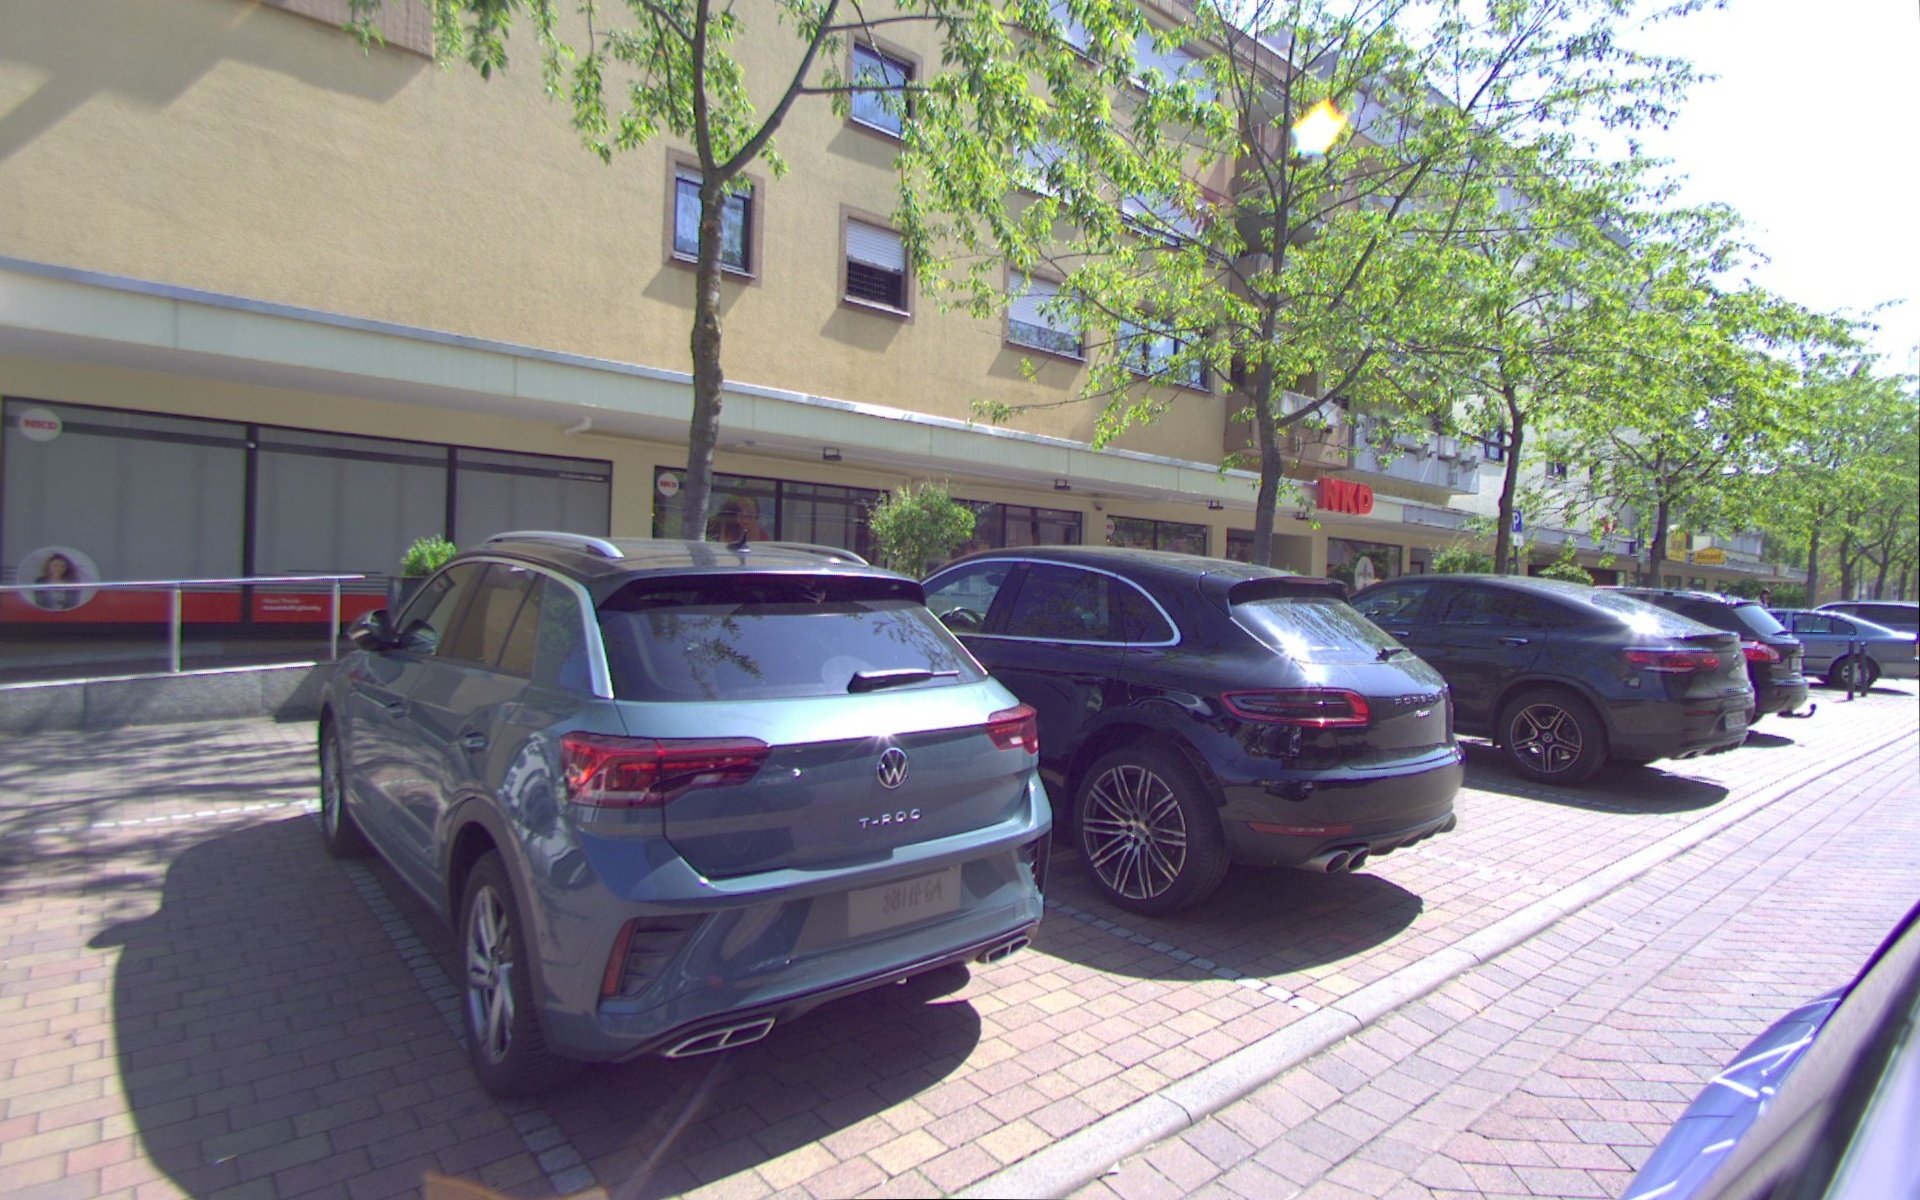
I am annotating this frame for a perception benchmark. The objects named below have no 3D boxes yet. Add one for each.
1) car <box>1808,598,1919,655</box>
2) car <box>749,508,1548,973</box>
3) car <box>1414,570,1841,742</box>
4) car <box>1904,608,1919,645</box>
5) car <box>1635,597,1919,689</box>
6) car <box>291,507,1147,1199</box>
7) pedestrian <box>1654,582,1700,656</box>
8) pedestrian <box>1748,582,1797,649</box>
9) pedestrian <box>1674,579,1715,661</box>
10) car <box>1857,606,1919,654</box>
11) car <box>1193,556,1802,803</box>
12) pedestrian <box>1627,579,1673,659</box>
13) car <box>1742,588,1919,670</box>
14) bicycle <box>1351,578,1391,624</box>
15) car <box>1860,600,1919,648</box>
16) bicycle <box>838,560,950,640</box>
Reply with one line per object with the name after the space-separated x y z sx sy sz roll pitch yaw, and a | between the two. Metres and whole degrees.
29.046 0.837 30.867 1.774 1.562 4.586 1 2 -39 | car
0.735 0.425 5.959 1.966 1.701 4.286 1 2 -42 | car
8.012 0.533 12.483 1.651 1.631 4.038 1 3 -39 | car
38.628 1.114 38.780 1.434 1.407 3.401 1 2 -39 | car
15.907 0.766 19.765 4.350 1.481 1.871 2 1 30 | car
-1.388 0.470 4.183 1.792 1.552 3.953 1 3 -41 | car
17.141 0.450 24.194 0.635 1.752 0.617 0 0 -6 | pedestrian
22.348 0.414 27.832 0.853 1.803 0.760 1 1 -33 | pedestrian
16.691 0.451 23.011 0.599 1.819 0.623 1 0 22 | pedestrian
31.212 1.024 32.173 1.585 1.449 3.801 1 2 -39 | car
4.529 0.476 9.227 1.816 1.608 4.521 1 2 -38 | car
15.881 0.421 23.294 0.622 1.795 0.684 1 0 12 | pedestrian
20.836 0.650 23.264 1.726 1.638 4.252 1 2 -41 | car
9.828 0.016 24.211 1.291 1.081 0.360 0 0 -42 | bicycle
32.916 0.877 34.061 1.604 1.535 3.652 1 2 -39 | car
-0.965 -0.003 15.073 1.742 1.138 0.413 0 0 -39 | bicycle
